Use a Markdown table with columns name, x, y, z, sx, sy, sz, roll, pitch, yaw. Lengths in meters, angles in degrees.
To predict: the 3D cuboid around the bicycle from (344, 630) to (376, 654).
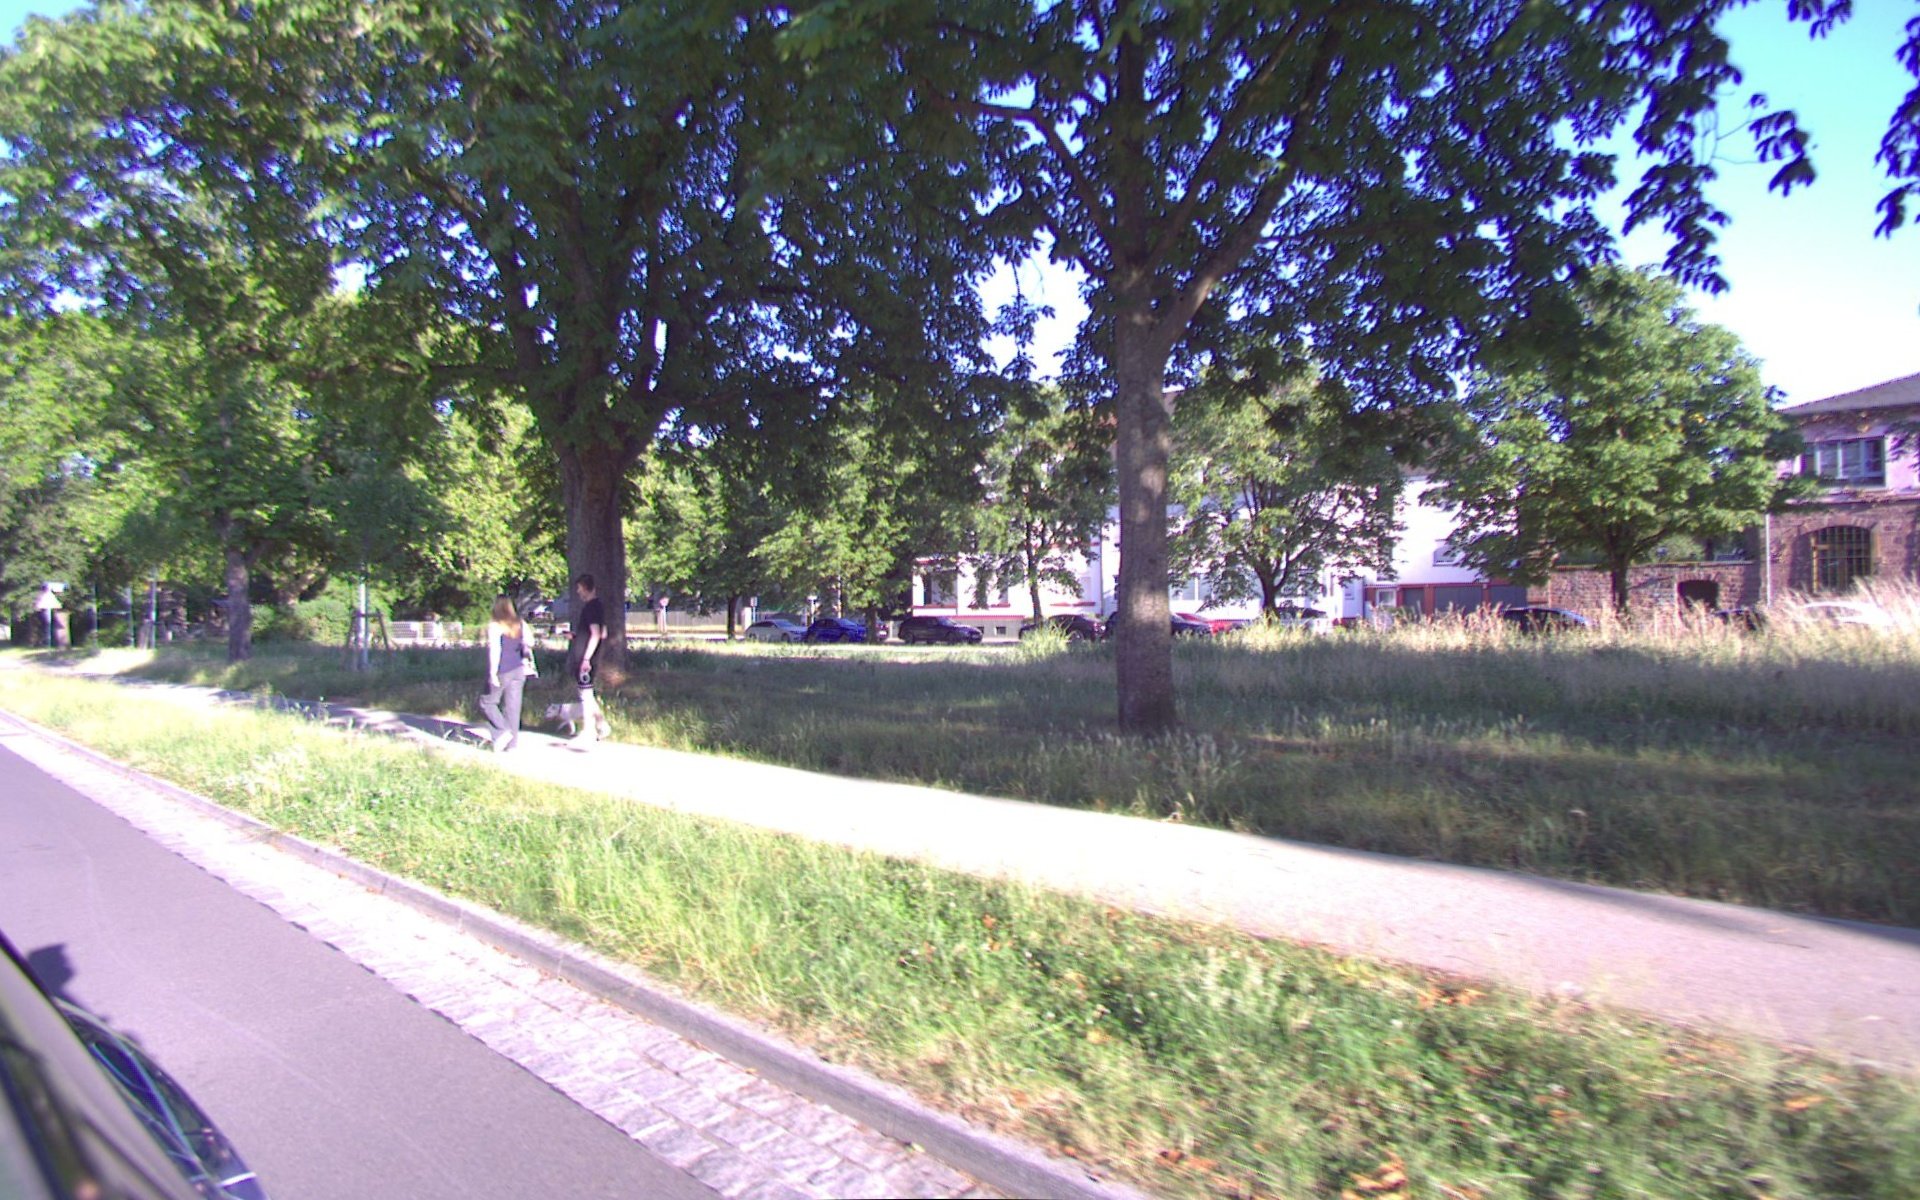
| name | x | y | z | sx | sy | sz | roll | pitch | yaw |
| --- | --- | --- | --- | --- | --- | --- | --- | --- | --- |
| bicycle | -31.931 | 2.234 | 53.868 | 0.417 | 1.196 | 1.579 | 0 | -1 | 18 |

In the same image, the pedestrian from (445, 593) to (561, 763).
| name | x | y | z | sx | sy | sz | roll | pitch | yaw |
| --- | --- | --- | --- | --- | --- | --- | --- | --- | --- |
| pedestrian | -4.648 | 0.756 | 10.283 | 0.952 | 1.627 | 0.774 | -2 | -1 | 45 |

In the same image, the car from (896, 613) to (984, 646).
| name | x | y | z | sx | sy | sz | roll | pitch | yaw |
| --- | --- | --- | --- | --- | --- | --- | --- | --- | --- |
| car | -1.002 | 1.430 | 48.966 | 4.217 | 1.487 | 1.676 | -2 | -1 | 40 |

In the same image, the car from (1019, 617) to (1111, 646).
| name | x | y | z | sx | sy | sz | roll | pitch | yaw |
| --- | --- | --- | --- | --- | --- | --- | --- | --- | --- |
| car | 5.182 | 1.566 | 50.338 | 4.480 | 1.342 | 1.553 | -1 | 0 | 43 |

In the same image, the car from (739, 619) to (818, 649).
| name | x | y | z | sx | sy | sz | roll | pitch | yaw |
| --- | --- | --- | --- | --- | --- | --- | --- | --- | --- |
| car | -10.370 | 1.915 | 57.678 | 4.750 | 1.609 | 1.676 | -2 | -1 | 39 |

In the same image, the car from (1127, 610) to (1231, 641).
| name | x | y | z | sx | sy | sz | roll | pitch | yaw |
| --- | --- | --- | --- | --- | --- | --- | --- | --- | --- |
| car | 9.970 | 1.168 | 46.367 | 4.478 | 1.342 | 1.553 | -1 | 0 | 43 |

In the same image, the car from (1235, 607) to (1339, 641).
| name | x | y | z | sx | sy | sz | roll | pitch | yaw |
| --- | --- | --- | --- | --- | --- | --- | --- | --- | --- |
| car | 13.783 | 1.022 | 42.760 | 3.851 | 1.342 | 1.553 | -1 | 0 | 43 |

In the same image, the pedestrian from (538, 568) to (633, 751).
| name | x | y | z | sx | sy | sz | roll | pitch | yaw |
| --- | --- | --- | --- | --- | --- | --- | --- | --- | --- |
| pedestrian | -3.999 | 0.612 | 10.783 | 0.886 | 1.845 | 0.617 | -2 | -1 | 45 |

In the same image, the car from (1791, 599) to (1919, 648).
| name | x | y | z | sx | sy | sz | roll | pitch | yaw |
| --- | --- | --- | --- | --- | --- | --- | --- | --- | --- |
| car | 27.906 | 0.710 | 30.803 | 3.998 | 1.416 | 1.612 | -2 | -1 | 41 |

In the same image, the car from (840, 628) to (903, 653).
| name | x | y | z | sx | sy | sz | roll | pitch | yaw |
| --- | --- | --- | --- | --- | --- | --- | --- | --- | --- |
| car | -5.314 | 2.407 | 60.516 | 3.851 | 1.342 | 1.553 | -1 | 0 | 43 |

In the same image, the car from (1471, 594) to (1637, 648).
| name | x | y | z | sx | sy | sz | roll | pitch | yaw |
| --- | --- | --- | --- | --- | --- | --- | --- | --- | --- |
| car | 18.538 | 0.661 | 31.684 | 4.218 | 1.609 | 1.675 | -2 | -1 | 41 |

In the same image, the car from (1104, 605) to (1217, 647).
| name | x | y | z | sx | sy | sz | roll | pitch | yaw |
| --- | --- | --- | --- | --- | --- | --- | --- | --- | --- |
| car | 8.129 | 1.052 | 41.154 | 4.218 | 1.609 | 1.675 | -2 | -1 | 41 |

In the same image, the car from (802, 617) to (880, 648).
| name | x | y | z | sx | sy | sz | roll | pitch | yaw |
| --- | --- | --- | --- | --- | --- | --- | --- | --- | --- |
| car | -6.379 | 1.730 | 54.133 | 4.216 | 1.609 | 1.676 | -2 | -1 | 38 |

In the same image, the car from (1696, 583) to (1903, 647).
| name | x | y | z | sx | sy | sz | roll | pitch | yaw |
| --- | --- | --- | --- | --- | --- | --- | --- | --- | --- |
| car | 22.833 | 0.420 | 27.702 | 4.218 | 1.609 | 1.675 | -2 | -1 | 41 |
